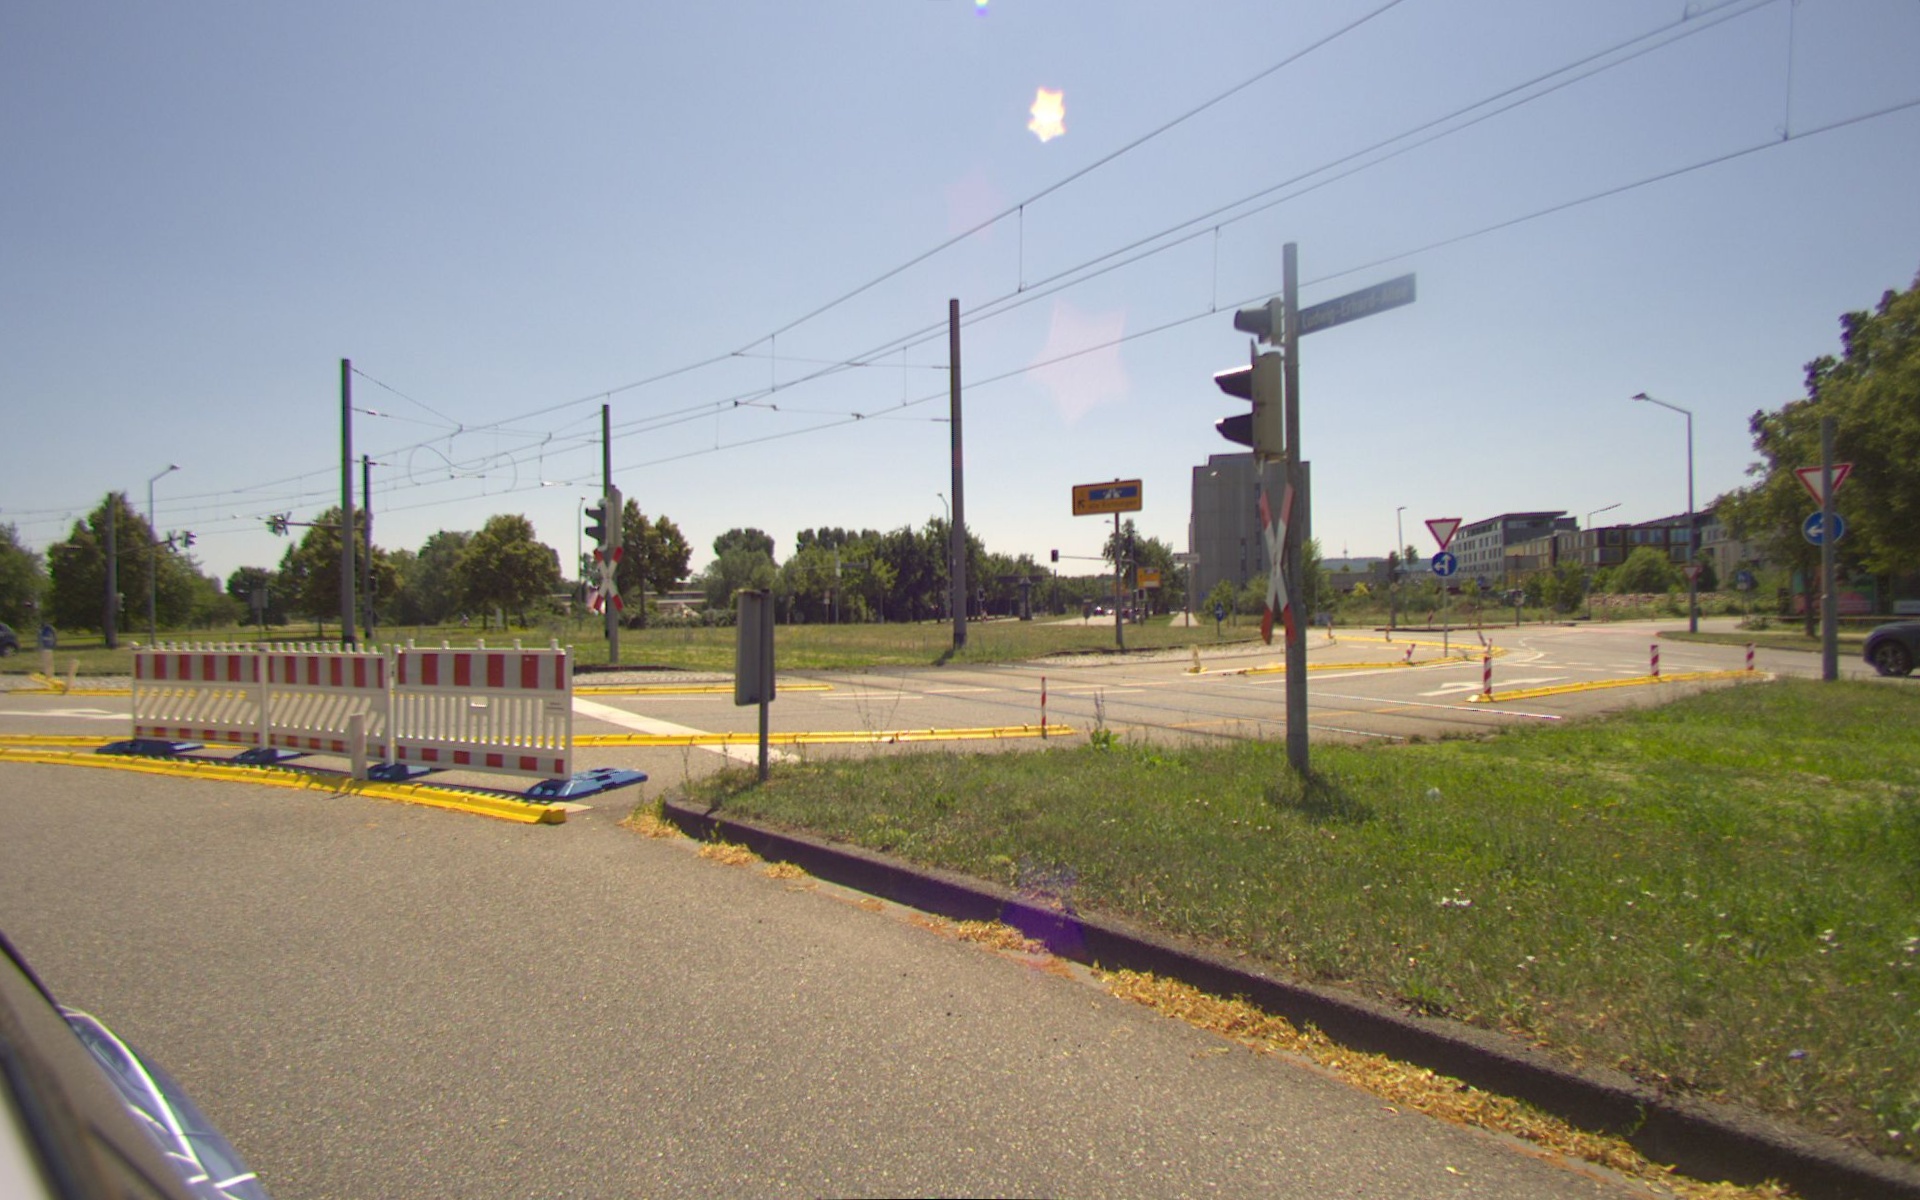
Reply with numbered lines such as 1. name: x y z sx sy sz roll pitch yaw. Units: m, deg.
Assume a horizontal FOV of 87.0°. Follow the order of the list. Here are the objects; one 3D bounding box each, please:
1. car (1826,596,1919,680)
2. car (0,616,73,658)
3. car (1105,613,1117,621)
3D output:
1. car: 18.628 0.666 17.229 1.967 1.529 5.851 -1 0 -13
2. car: -33.747 1.301 35.253 1.957 1.429 3.990 -1 0 8
3. car: 25.171 2.816 168.359 1.743 1.419 3.386 -1 -1 13
